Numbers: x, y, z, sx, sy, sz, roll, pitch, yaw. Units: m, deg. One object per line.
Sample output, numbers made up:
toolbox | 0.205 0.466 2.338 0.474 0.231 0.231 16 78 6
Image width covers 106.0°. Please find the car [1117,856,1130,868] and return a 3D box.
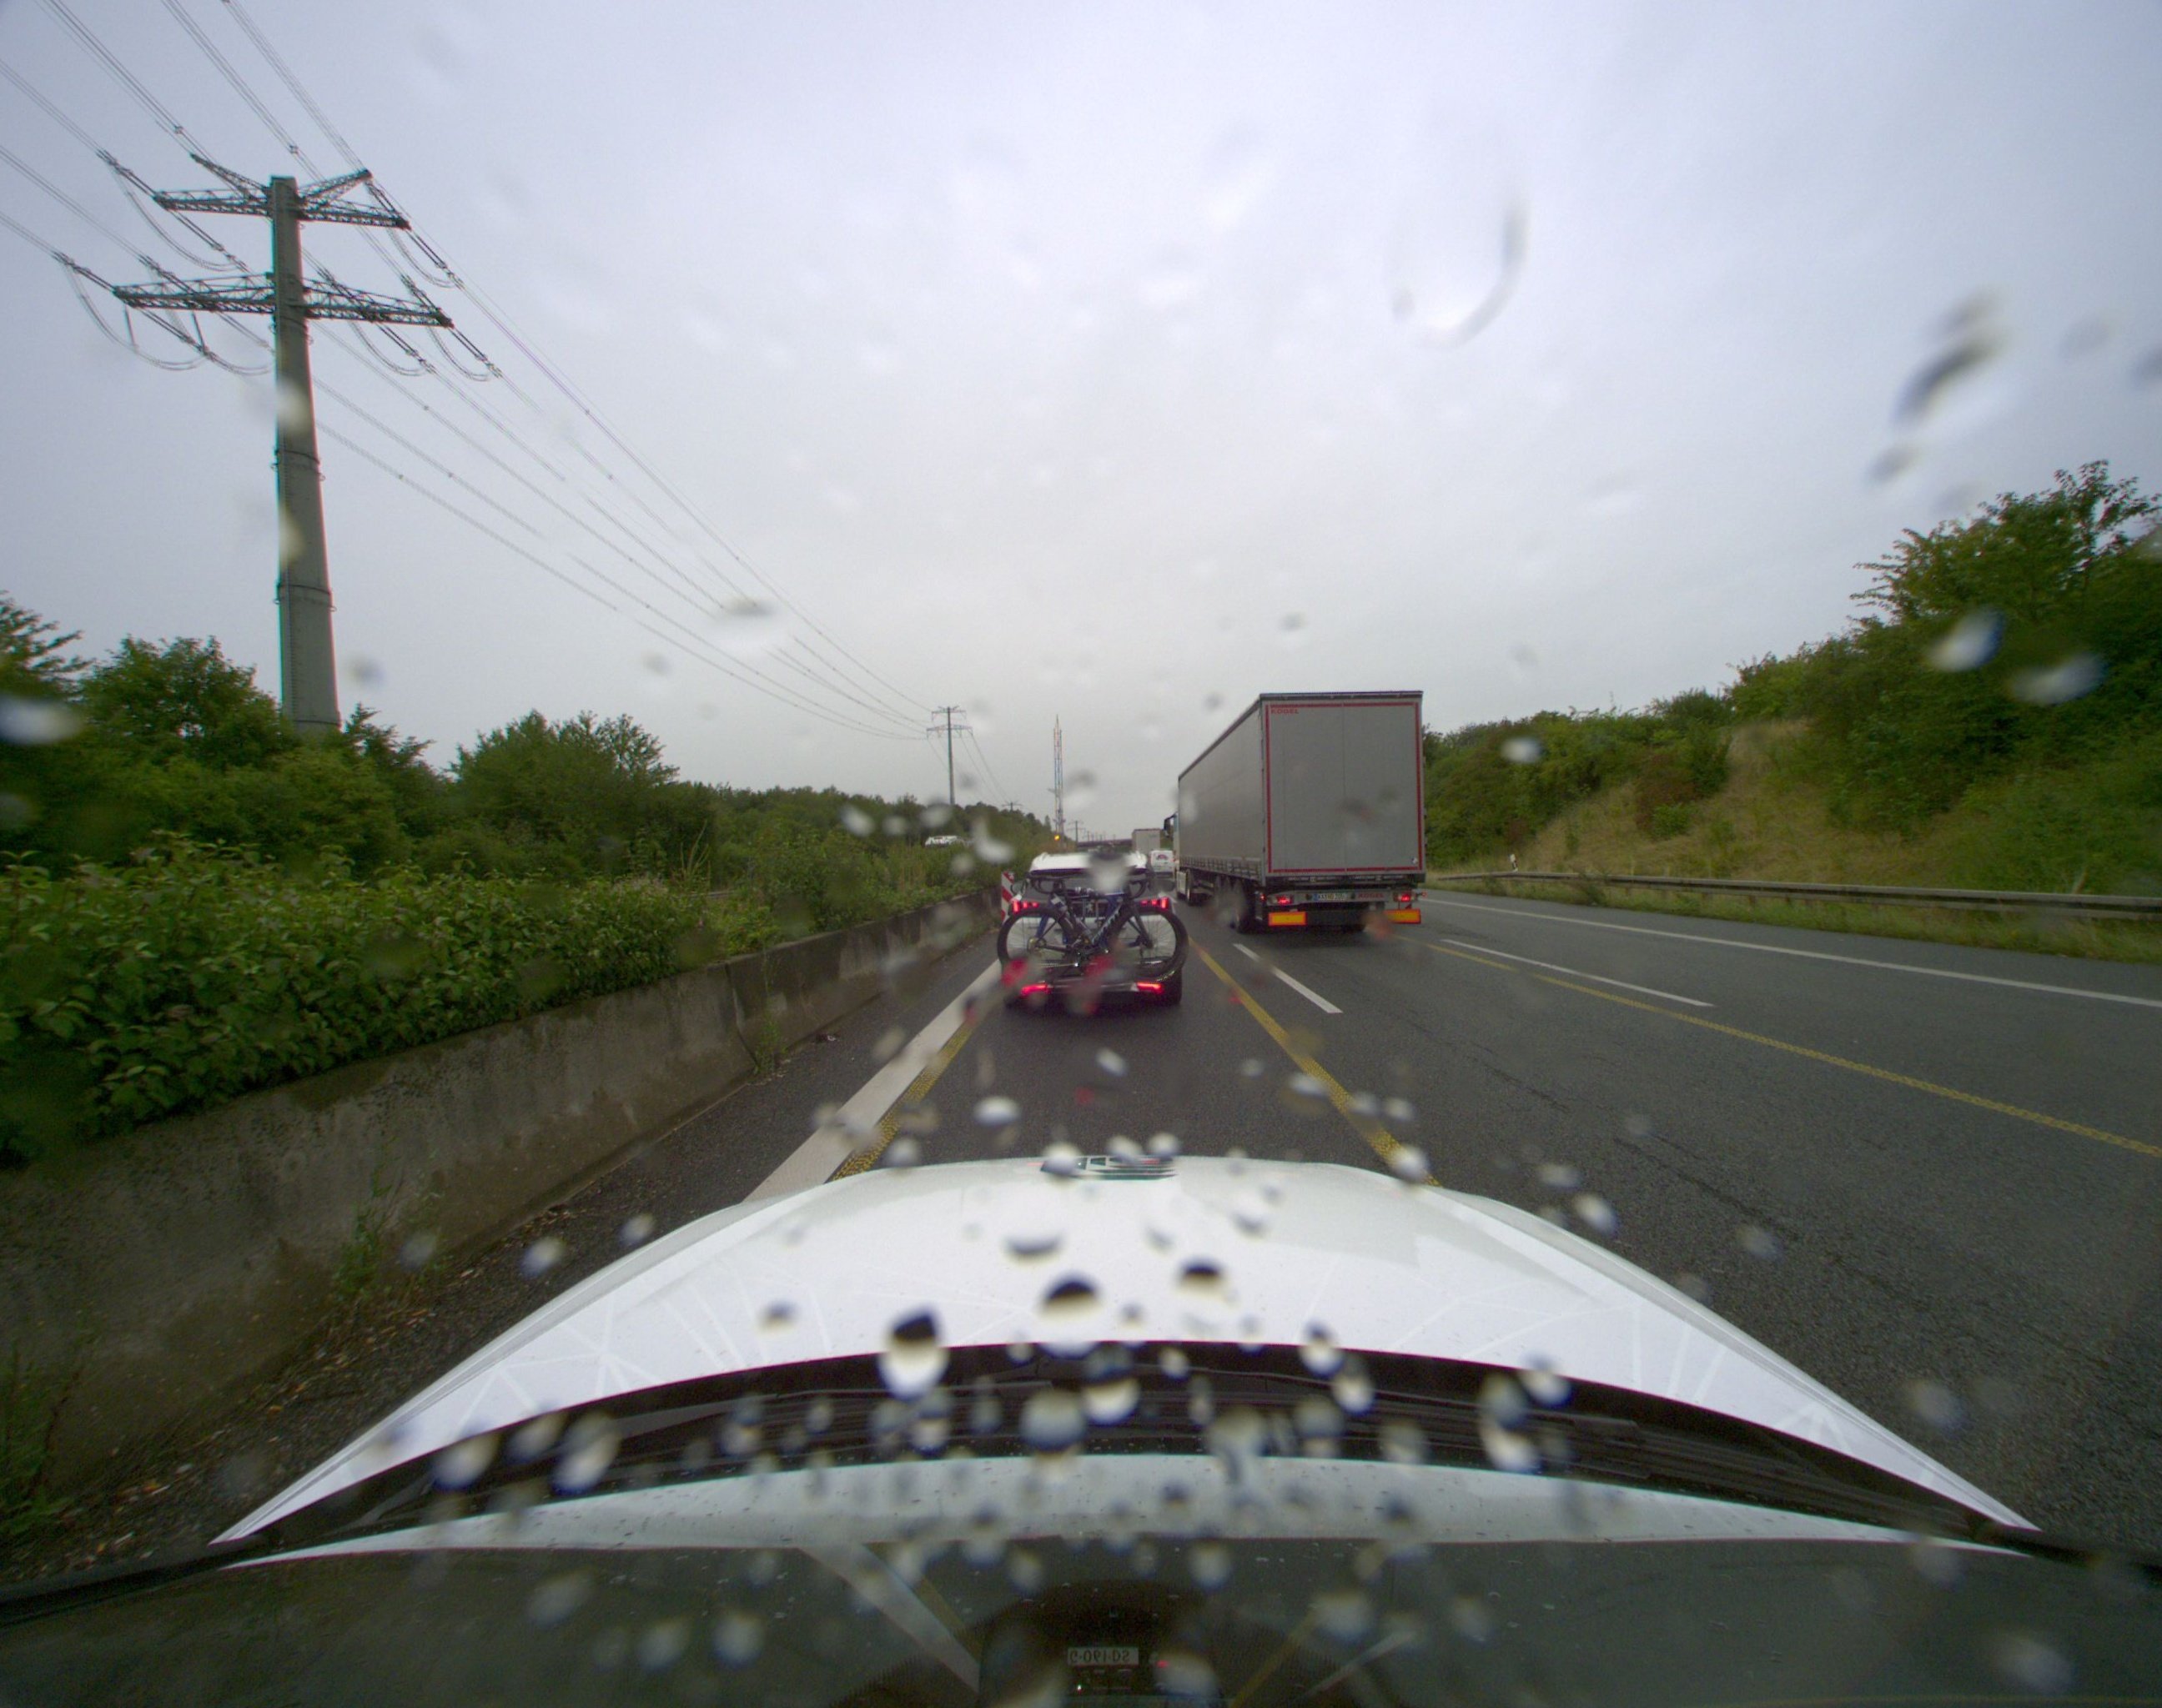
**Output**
car | 7.145 1.345 137.265 2.102 1.973 4.002 -1 1 2

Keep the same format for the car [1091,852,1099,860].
car | 3.766 0.622 217.701 1.924 1.973 4.002 -1 1 2

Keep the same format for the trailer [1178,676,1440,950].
trailer | 4.299 -0.624 19.336 2.696 4.146 13.737 -1 0 2

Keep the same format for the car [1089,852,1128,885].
car | 1.358 0.695 41.076 1.843 1.531 4.001 -1 0 2

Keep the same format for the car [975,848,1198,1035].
car | 0.117 0.737 9.216 1.843 1.531 4.770 -1 0 2

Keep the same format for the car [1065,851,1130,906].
car | 0.538 0.692 25.254 1.843 1.531 4.001 -1 0 2

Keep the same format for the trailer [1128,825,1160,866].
trailer | 6.670 -0.843 87.476 2.682 4.076 13.638 -1 0 2

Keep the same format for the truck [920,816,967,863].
truck | -12.932 -1.318 76.973 2.776 4.023 7.235 -4 0 1

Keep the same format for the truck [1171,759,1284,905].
truck | 4.506 -0.638 26.201 2.696 4.138 5.693 -1 0 2

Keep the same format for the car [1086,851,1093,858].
car | 2.498 0.172 235.562 1.924 1.910 4.002 -1 1 2

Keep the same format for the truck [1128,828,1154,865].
truck | 6.843 -0.824 94.284 2.650 4.076 6.541 -1 0 2

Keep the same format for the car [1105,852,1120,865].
car | 3.936 0.596 103.724 1.843 1.531 4.001 -1 0 2

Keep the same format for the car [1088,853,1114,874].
car | 1.533 0.701 61.791 1.843 1.531 4.001 -1 0 2

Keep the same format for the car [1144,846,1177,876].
car | 5.242 0.459 53.957 1.822 1.839 4.657 -1 0 2
